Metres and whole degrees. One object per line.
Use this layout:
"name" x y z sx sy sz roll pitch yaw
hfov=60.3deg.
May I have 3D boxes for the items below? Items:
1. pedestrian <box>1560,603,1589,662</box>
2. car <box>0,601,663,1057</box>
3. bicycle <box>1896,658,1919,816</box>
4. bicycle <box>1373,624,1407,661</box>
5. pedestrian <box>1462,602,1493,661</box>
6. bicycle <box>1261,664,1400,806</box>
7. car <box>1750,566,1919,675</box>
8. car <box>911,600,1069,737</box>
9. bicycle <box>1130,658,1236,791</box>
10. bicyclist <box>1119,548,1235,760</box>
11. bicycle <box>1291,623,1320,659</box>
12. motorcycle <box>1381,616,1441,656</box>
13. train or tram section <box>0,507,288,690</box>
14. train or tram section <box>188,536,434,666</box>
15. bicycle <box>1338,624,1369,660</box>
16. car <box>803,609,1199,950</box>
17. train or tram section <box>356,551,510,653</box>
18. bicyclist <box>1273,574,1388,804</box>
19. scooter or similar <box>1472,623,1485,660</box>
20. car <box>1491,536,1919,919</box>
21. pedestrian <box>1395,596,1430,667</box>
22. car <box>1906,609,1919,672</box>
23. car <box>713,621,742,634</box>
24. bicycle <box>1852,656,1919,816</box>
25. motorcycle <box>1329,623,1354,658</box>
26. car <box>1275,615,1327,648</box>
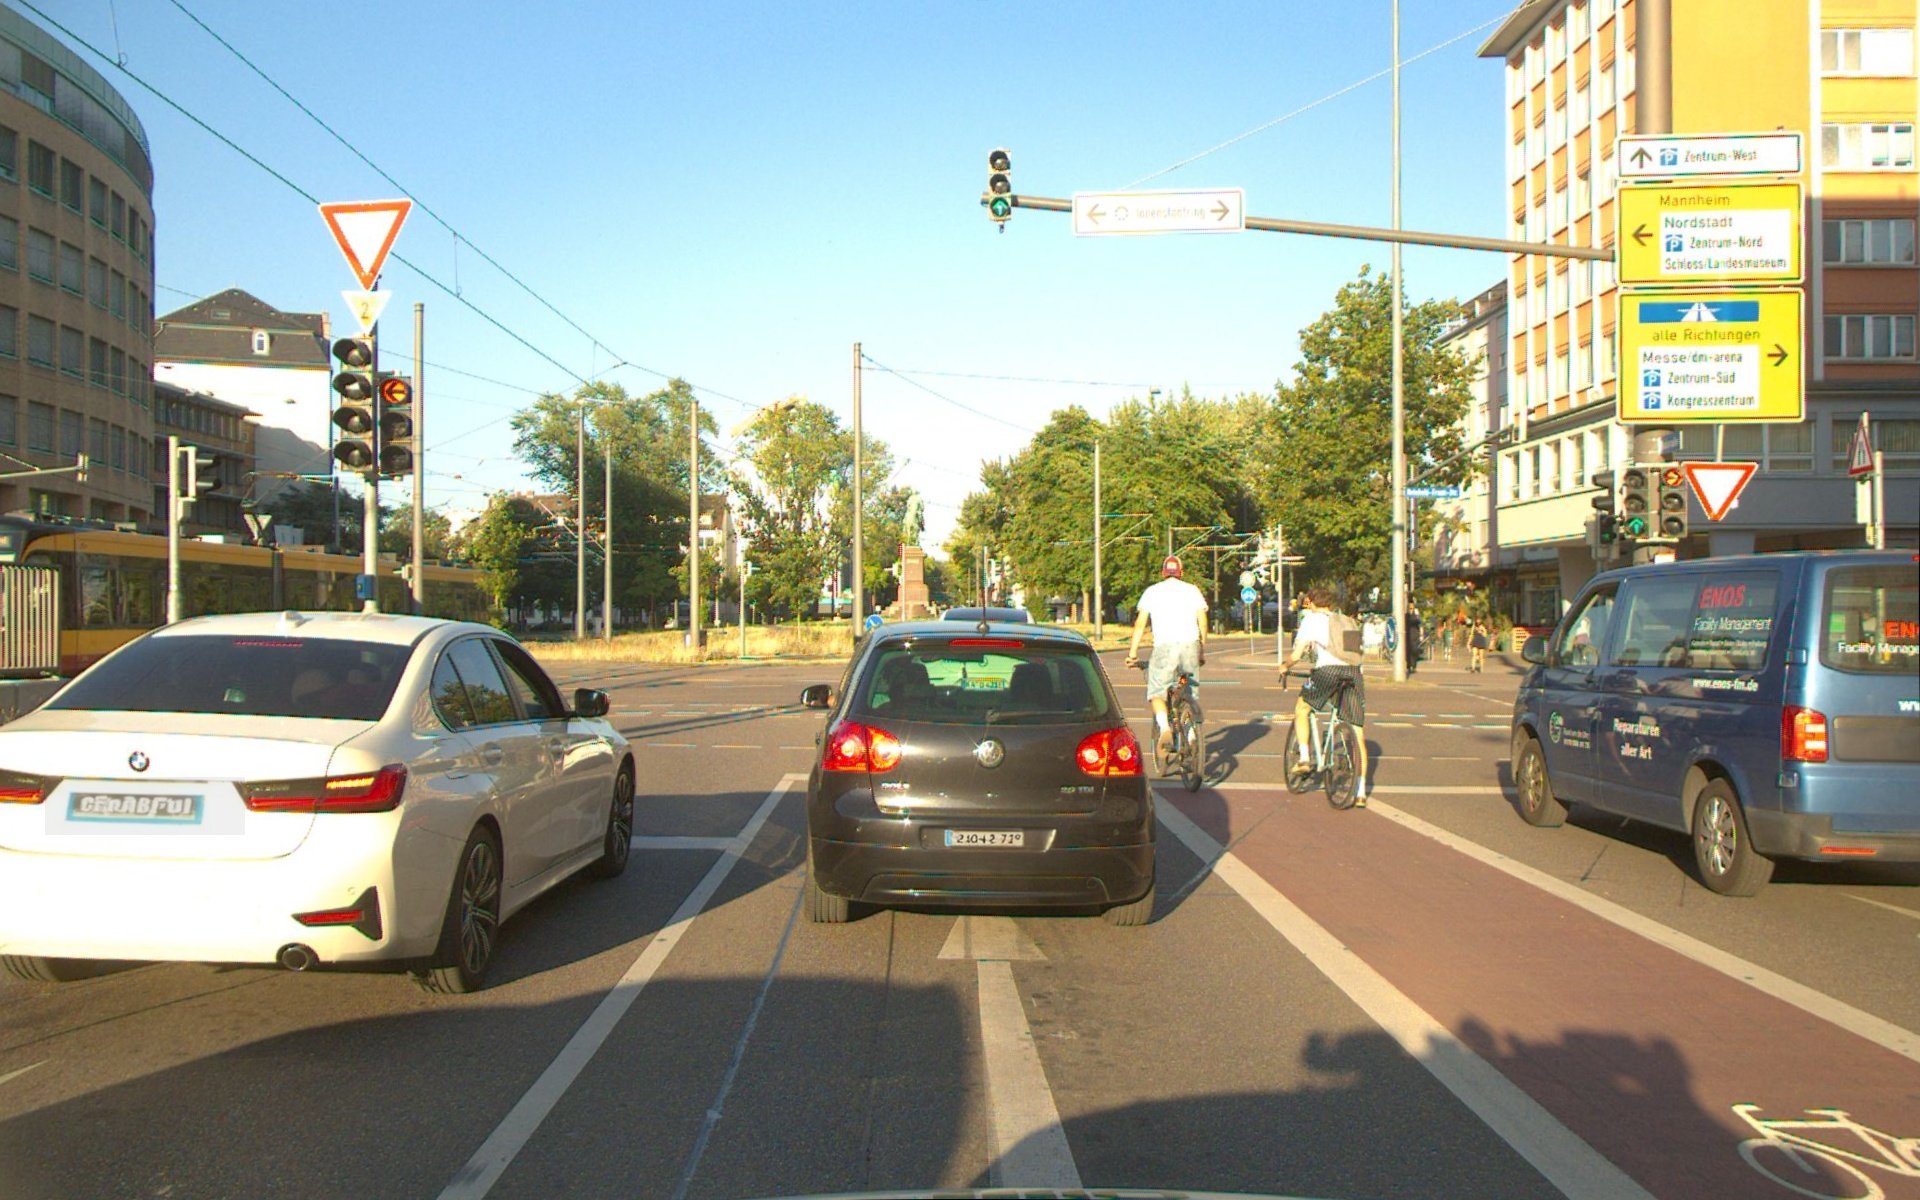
"pedestrian" 18.199 0.947 48.952 0.557 1.731 0.812 0 0 1
"car" -2.712 0.762 7.687 1.800 1.425 4.583 2 0 0
"bicycle" 7.959 0.970 12.160 1.831 1.145 0.567 -3 0 -4
"bicycle" 14.706 1.442 56.583 0.631 1.178 2.124 0 0 1
"pedestrian" 14.378 0.870 45.999 0.667 1.617 0.747 0 0 4
"bicycle" 3.070 1.088 13.865 0.564 1.046 1.854 0 0 -6
"car" 21.909 0.473 39.517 5.142 2.526 1.925 0 0 -1
"car" 0.395 0.814 21.807 1.826 1.466 4.198 -2 1 1
"bicycle" 1.964 1.072 14.772 0.469 1.046 1.978 0 0 -6
"bicyclist" 1.935 0.473 14.902 0.810 1.839 1.056 0 -1 -6
"bicycle" 11.775 1.389 56.405 0.631 1.146 1.874 0 0 1
"motorcycle" 16.265 1.286 59.744 2.000 1.431 0.761 0 0 7
"train or tram section" -19.778 0.016 38.951 2.717 3.598 13.248 0 0 -1
"train or tram section" -19.975 0.068 52.174 2.717 3.598 13.248 0 0 -1
"bicycle" 13.415 1.421 56.457 0.631 1.146 1.874 0 0 1
"car" 0.003 0.801 9.362 1.714 1.486 4.097 0 0 -6
"train or tram section" -20.175 0.103 64.078 2.717 3.598 10.568 0 0 -1
"bicyclist" 3.068 0.711 13.764 0.661 1.839 0.993 0 -1 -5
"scooter or similar" 18.302 1.447 58.359 0.406 1.276 1.183 0 0 19
"car" 5.266 0.664 10.946 1.897 1.967 4.831 0 0 -1
"pedestrian" 11.309 0.783 41.378 0.648 1.734 1.072 0 0 4
"car" 23.354 0.883 36.505 3.905 1.400 1.806 0 -1 0
"car" -26.910 3.158 191.392 3.272 1.534 1.657 0 -1 -4
"bicycle" 7.953 0.994 12.734 1.831 1.145 0.606 -3 0 -4
"motorcycle" 14.256 1.516 61.799 0.652 1.264 2.202 0 0 6
"car" 16.634 1.511 80.575 1.693 1.498 3.898 -3 -2 23
